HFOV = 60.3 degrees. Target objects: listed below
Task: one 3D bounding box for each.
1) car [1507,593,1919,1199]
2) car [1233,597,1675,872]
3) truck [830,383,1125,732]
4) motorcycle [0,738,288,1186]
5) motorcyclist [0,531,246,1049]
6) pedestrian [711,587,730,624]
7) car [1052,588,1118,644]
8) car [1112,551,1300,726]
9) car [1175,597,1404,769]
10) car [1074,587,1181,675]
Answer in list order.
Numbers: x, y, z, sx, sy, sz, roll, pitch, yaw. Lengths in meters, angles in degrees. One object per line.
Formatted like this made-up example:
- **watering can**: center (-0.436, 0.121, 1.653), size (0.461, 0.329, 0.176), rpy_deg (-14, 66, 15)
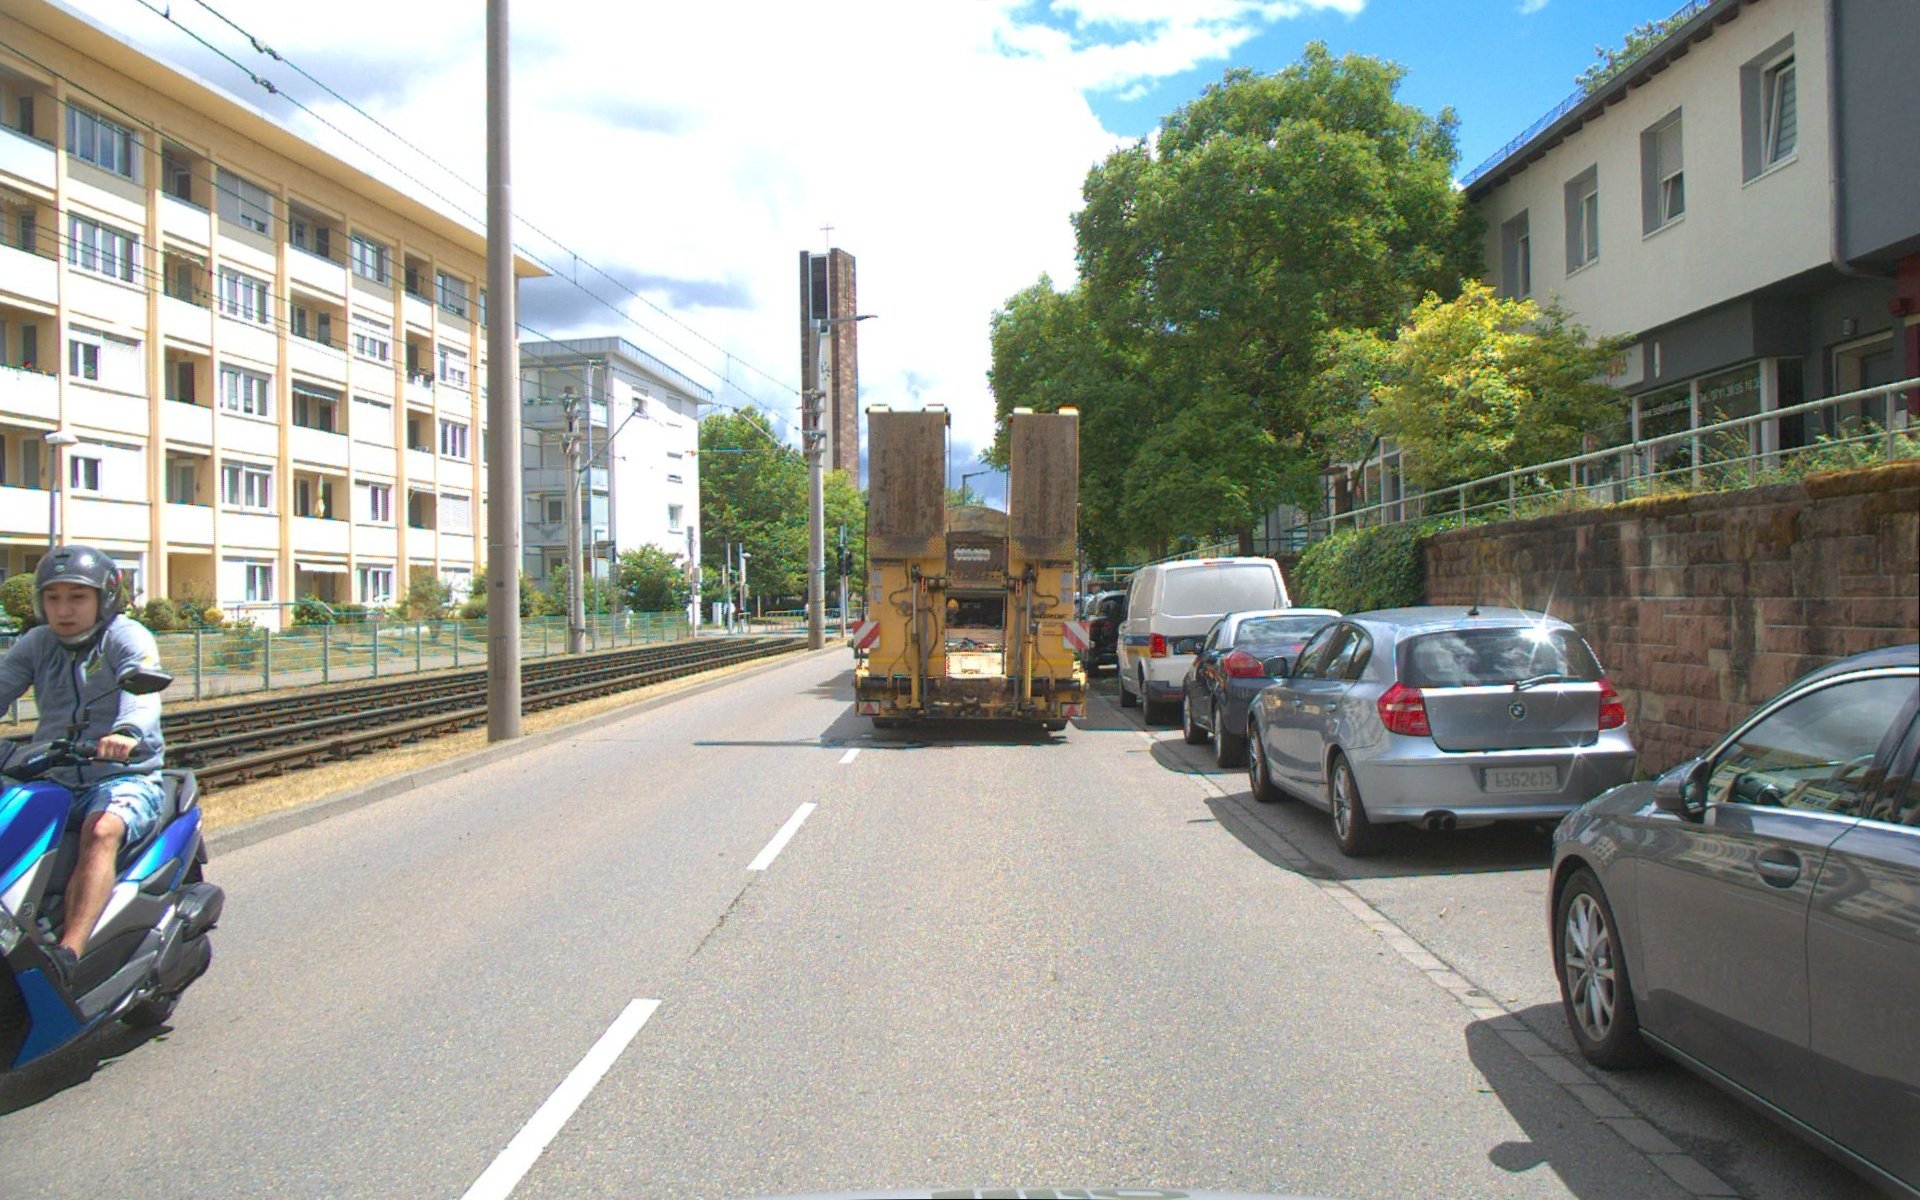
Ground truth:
- **car**: center (2.899, 0.730, 3.956), size (1.798, 1.430, 4.414), rpy_deg (-2, 0, 2)
- **car**: center (3.047, 0.731, 11.089), size (1.656, 1.430, 4.068), rpy_deg (-2, 0, -1)
- **truck**: center (0.109, -0.506, 23.531), size (3.060, 3.626, 12.458), rpy_deg (-1, 1, -1)
- **motorcycle**: center (-2.825, 1.004, 5.129), size (0.732, 0.970, 1.832), rpy_deg (1, 0, 0)
- **motorcyclist**: center (-2.817, 0.546, 5.219), size (0.731, 1.492, 0.887), rpy_deg (-1, 0, 0)
- **pedestrian**: center (-13.464, 0.290, 92.822), size (0.935, 2.049, 1.175), rpy_deg (-1, 0, -14)
- **car**: center (3.887, 0.477, 51.895), size (1.762, 1.651, 4.292), rpy_deg (-1, 0, 0)
- **car**: center (3.099, 0.433, 21.690), size (1.762, 2.003, 4.590), rpy_deg (-2, 0, 0)
- **car**: center (3.118, 0.719, 16.274), size (1.587, 1.430, 3.650), rpy_deg (-2, 0, 2)
- **car**: center (3.339, 0.571, 33.604), size (1.762, 1.651, 4.292), rpy_deg (-1, 0, 0)
